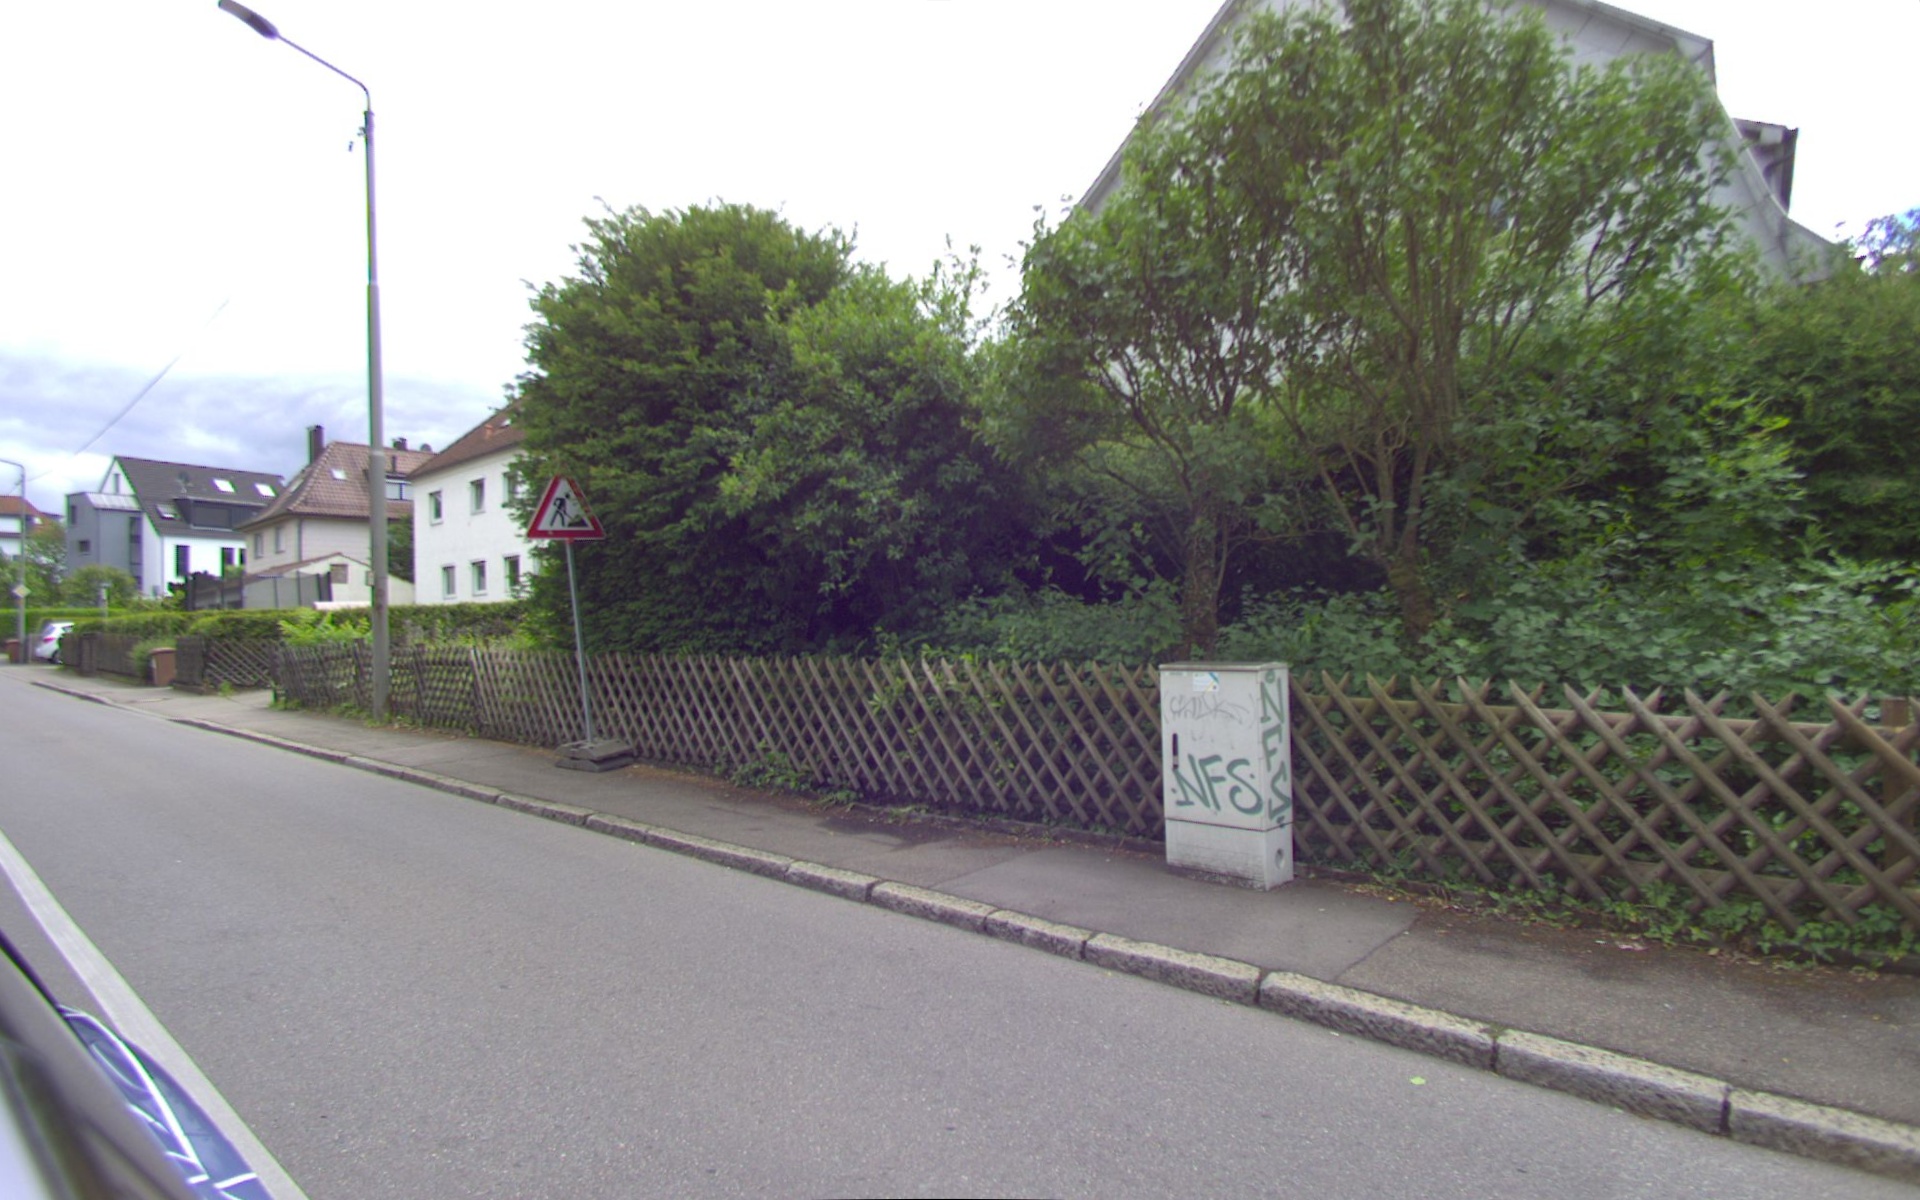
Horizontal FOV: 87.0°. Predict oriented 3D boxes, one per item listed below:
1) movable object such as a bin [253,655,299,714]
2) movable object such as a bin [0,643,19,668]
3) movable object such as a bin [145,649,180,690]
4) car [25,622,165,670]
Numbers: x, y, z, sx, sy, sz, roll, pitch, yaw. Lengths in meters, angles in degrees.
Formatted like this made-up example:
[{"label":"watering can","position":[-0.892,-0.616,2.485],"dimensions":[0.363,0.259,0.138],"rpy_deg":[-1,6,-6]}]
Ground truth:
[{"label":"movable object such as a bin","position":[-11.626,1.421,17.209],"dimensions":[0.537,0.945,0.544],"rpy_deg":[-2,-2,43]},{"label":"movable object such as a bin","position":[-37.872,2.188,40.164],"dimensions":[0.571,0.961,0.681],"rpy_deg":[-2,-2,39]},{"label":"movable object such as a bin","position":[-18.751,1.626,23.806],"dimensions":[0.625,0.920,0.561],"rpy_deg":[-2,0,-39]},{"label":"car","position":[-33.994,1.762,39.832],"dimensions":[1.718,1.606,3.946],"rpy_deg":[-2,1,41]}]
